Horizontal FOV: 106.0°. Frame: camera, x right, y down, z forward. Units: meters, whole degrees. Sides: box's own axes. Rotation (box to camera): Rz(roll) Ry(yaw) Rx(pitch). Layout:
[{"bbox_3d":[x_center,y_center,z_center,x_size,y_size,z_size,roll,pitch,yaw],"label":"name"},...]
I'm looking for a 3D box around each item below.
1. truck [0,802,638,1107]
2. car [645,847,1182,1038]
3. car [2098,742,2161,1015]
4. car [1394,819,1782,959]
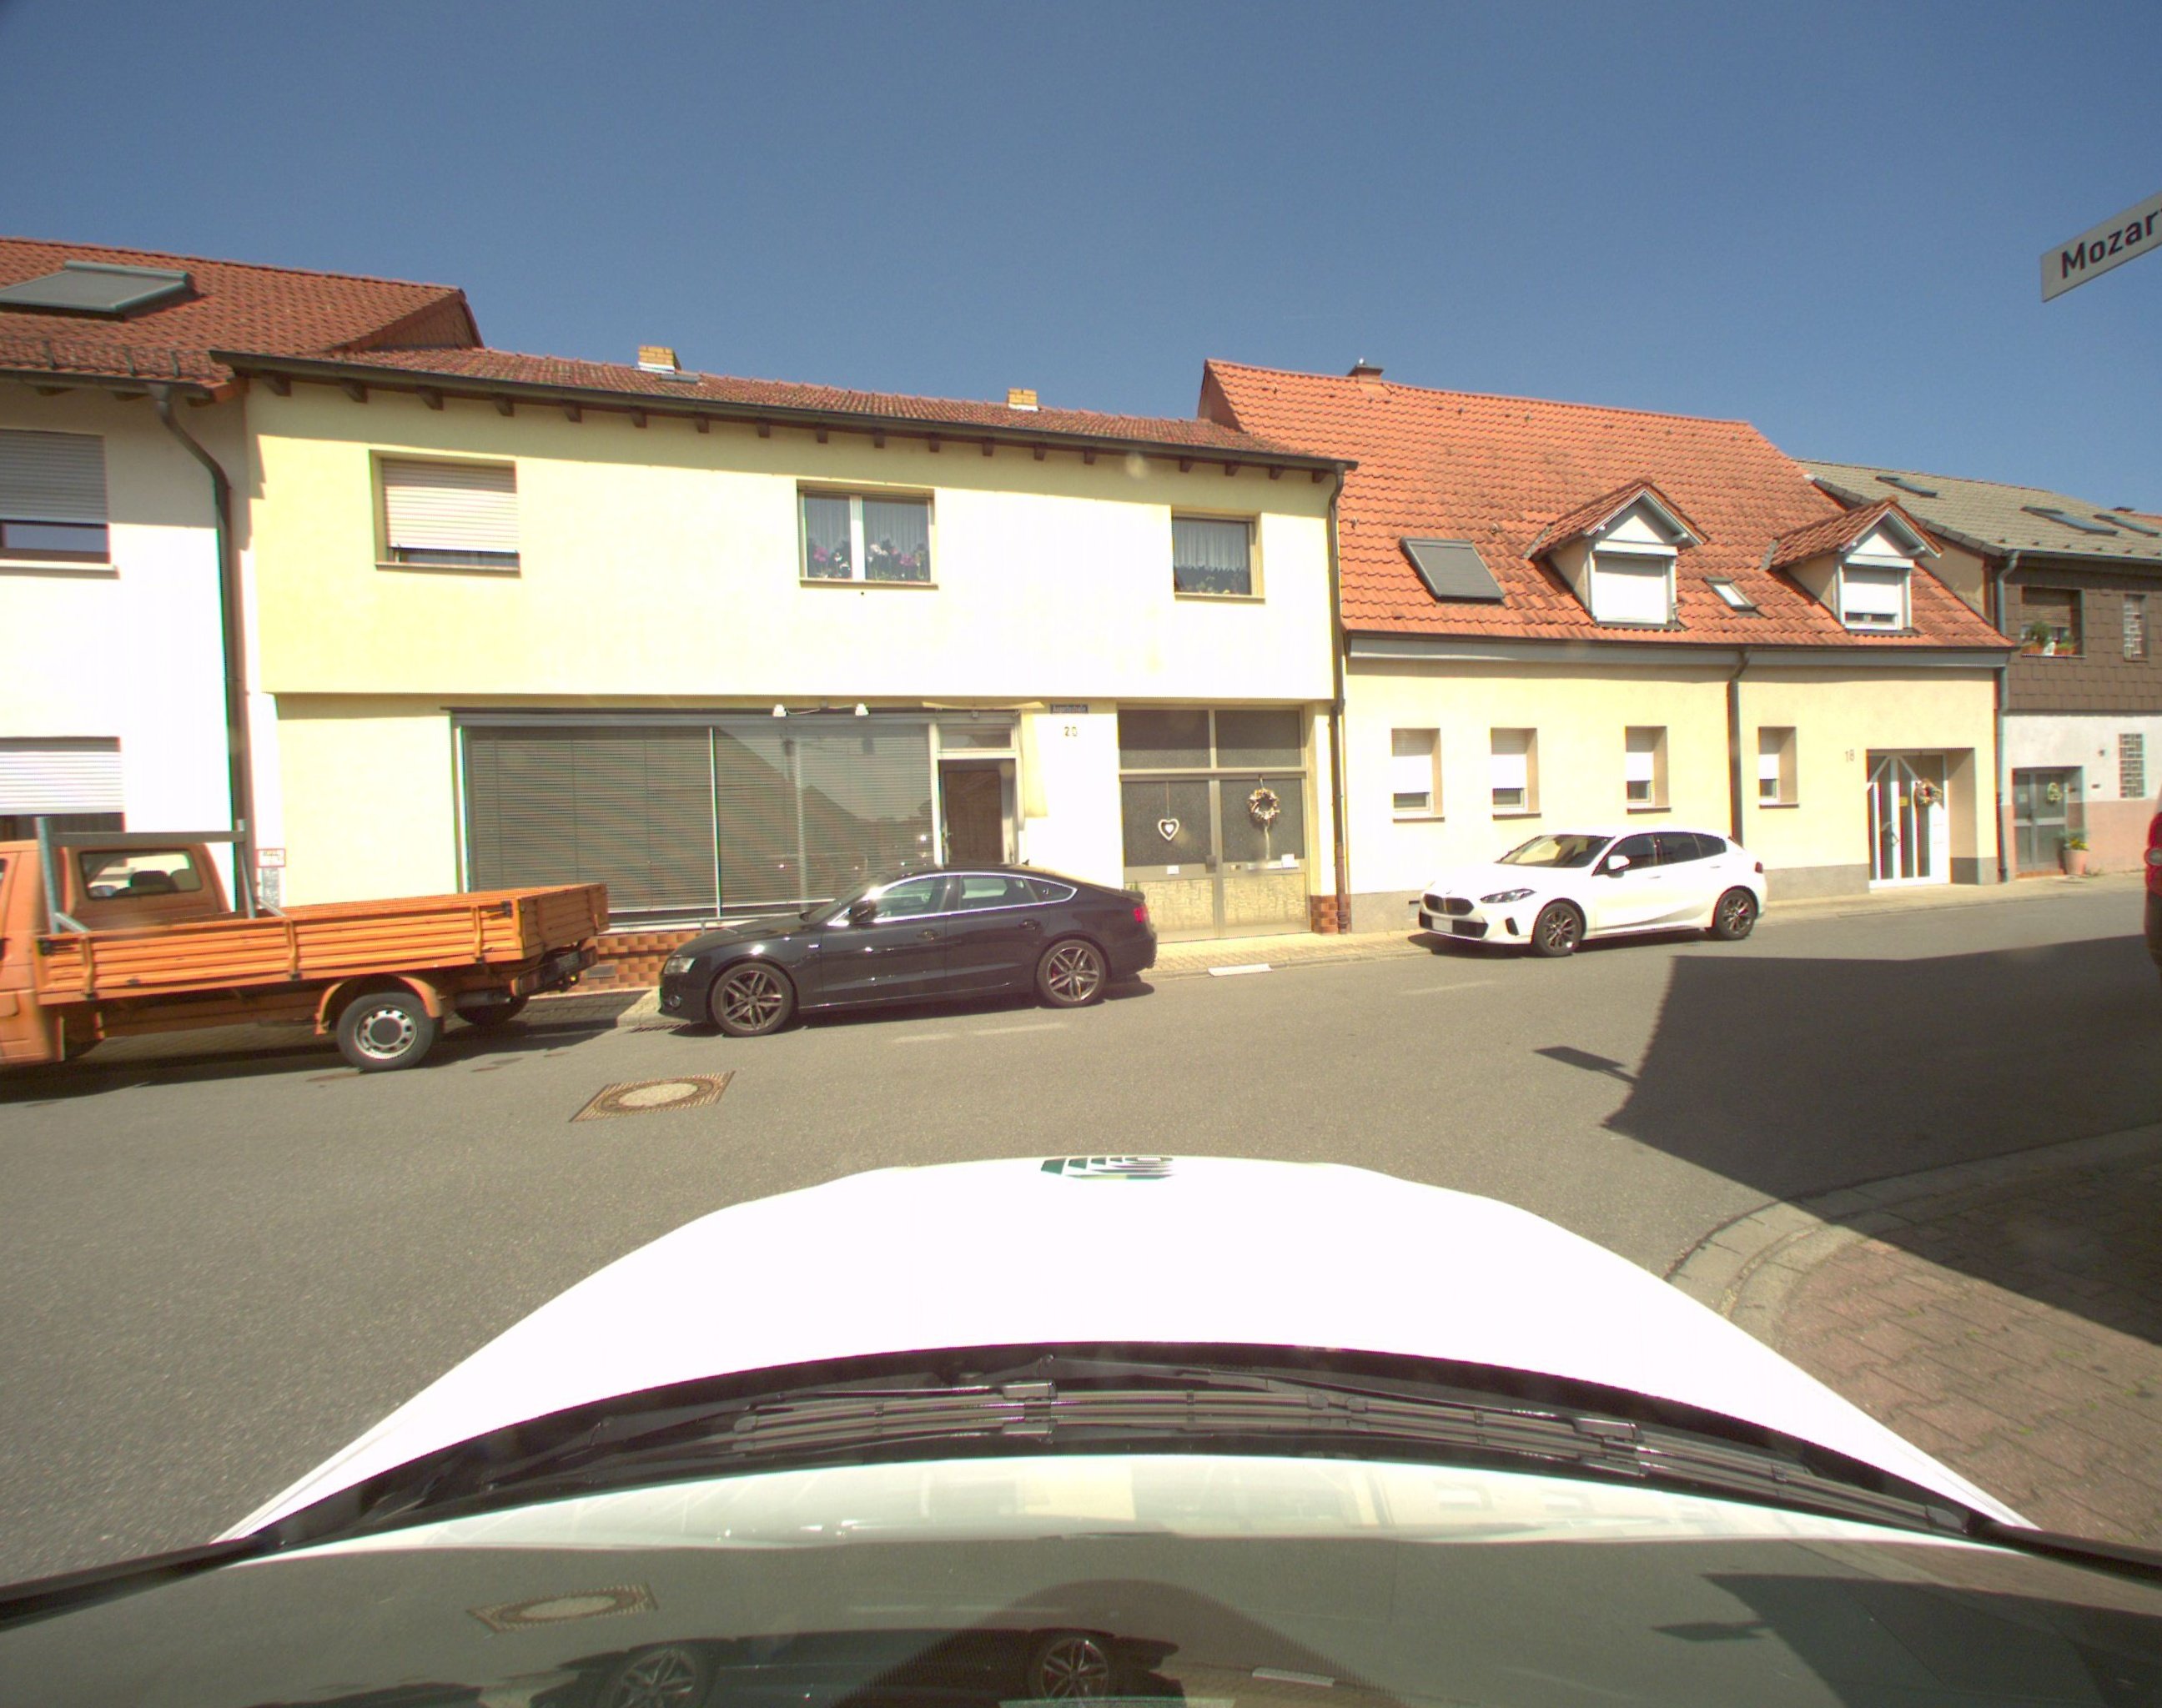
[{"bbox_3d":[-6.869,0.695,6.824,5.070,2.013,2.179,-2,0,-14],"label":"truck"},{"bbox_3d":[-1.528,0.754,8.142,4.625,1.394,1.918,-2,-2,-15],"label":"car"},{"bbox_3d":[9.720,0.104,5.547,4.846,1.824,1.806,-2,2,-17],"label":"car"},{"bbox_3d":[6.418,0.368,10.452,4.206,1.454,1.780,-2,0,-13],"label":"car"}]
